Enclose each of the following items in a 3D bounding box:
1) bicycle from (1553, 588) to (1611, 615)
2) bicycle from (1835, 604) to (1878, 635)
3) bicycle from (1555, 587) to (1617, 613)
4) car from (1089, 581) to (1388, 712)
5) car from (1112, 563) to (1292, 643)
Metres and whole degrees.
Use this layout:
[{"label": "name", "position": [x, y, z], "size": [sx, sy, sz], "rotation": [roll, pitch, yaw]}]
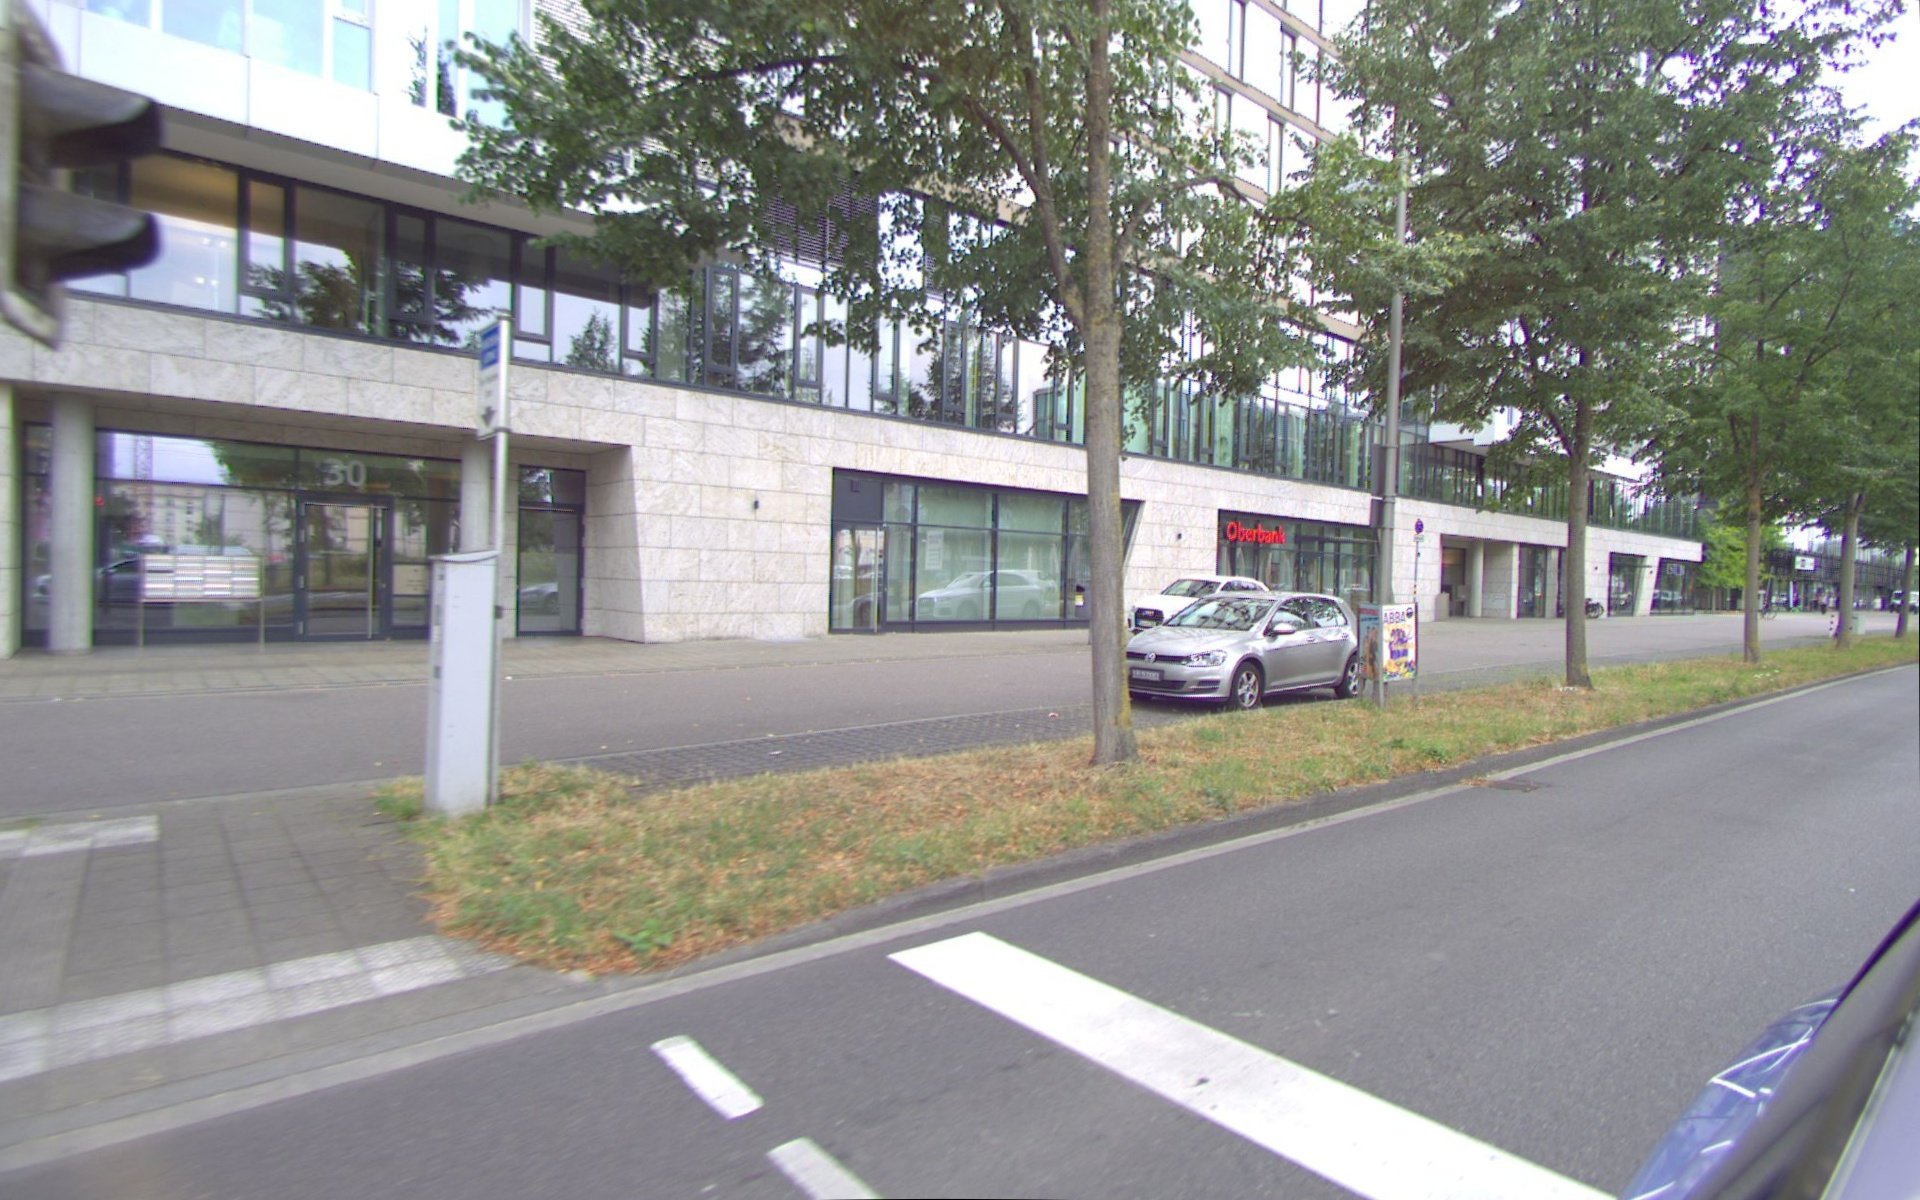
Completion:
[{"label": "bicycle", "position": [30.075, 0.052, 48.963], "size": [2.231, 1.191, 0.961], "rotation": [2, 2, 43]}, {"label": "bicycle", "position": [27.523, 0.587, 31.060], "size": [2.077, 0.887, 0.634], "rotation": [-1, 0, -38]}, {"label": "bicycle", "position": [30.864, -0.018, 49.901], "size": [2.418, 1.191, 1.184], "rotation": [2, 2, 43]}, {"label": "car", "position": [3.745, 0.495, 13.260], "size": [4.108, 1.439, 1.764], "rotation": [0, 1, -40]}, {"label": "car", "position": [5.642, 0.026, 23.380], "size": [4.165, 1.607, 1.862], "rotation": [0, 4, -40]}]
